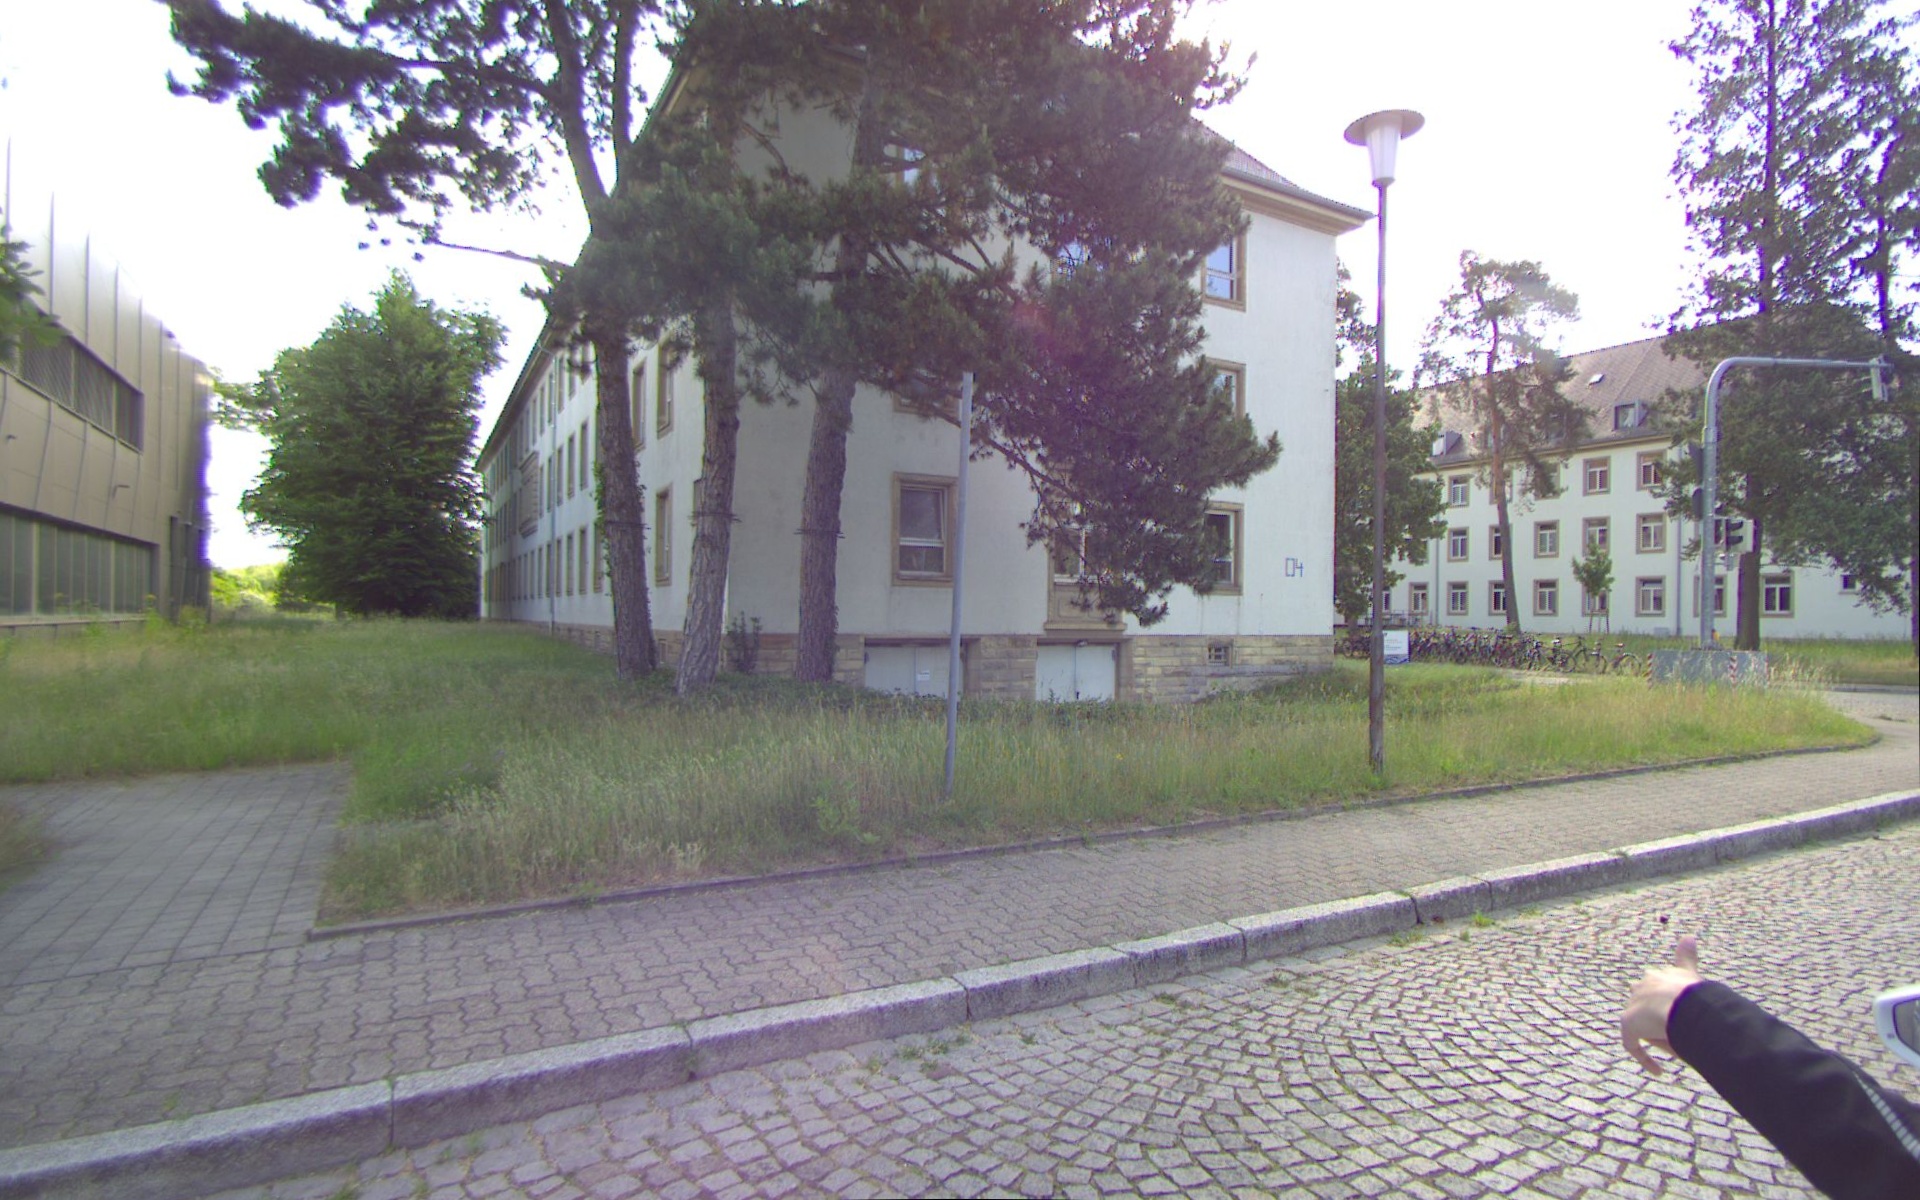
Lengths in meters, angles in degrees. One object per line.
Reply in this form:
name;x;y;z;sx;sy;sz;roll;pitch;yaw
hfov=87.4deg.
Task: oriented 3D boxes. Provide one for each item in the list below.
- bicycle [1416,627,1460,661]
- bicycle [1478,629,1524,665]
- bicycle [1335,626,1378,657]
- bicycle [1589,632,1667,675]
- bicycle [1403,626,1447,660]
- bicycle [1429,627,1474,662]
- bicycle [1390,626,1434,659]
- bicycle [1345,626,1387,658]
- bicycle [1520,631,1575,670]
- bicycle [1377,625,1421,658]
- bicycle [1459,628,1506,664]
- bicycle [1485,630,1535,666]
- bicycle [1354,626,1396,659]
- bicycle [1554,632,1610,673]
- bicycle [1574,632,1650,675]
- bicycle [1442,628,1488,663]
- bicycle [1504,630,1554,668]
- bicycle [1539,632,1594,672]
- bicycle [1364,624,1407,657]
bicycle;17.642;1.604;37.063;1.931;1.237;0.511;1;-1;-31
bicycle;19.026;1.641;35.326;1.877;1.237;0.545;1;-1;-31
bicycle;15.901;1.657;40.261;1.915;1.237;0.511;1;-1;-31
bicycle;20.455;1.608;30.802;0.627;1.237;1.936;1;-1;-29
bicycle;17.380;1.598;37.551;1.915;1.237;0.511;1;-1;-31
bicycle;17.927;1.613;36.622;1.954;1.237;0.511;1;-1;-31
bicycle;17.132;1.592;38.038;1.915;1.237;0.511;1;-1;-31
bicycle;16.114;1.662;39.868;1.915;1.237;0.511;1;-1;-31
bicycle;19.294;1.649;32.957;2.080;1.237;0.630;1;-1;-31
bicycle;16.857;1.586;38.564;1.915;1.237;0.511;1;-1;-31
bicycle;18.542;1.631;35.633;1.992;1.237;0.511;1;-1;-31
bicycle;18.948;1.642;34.614;2.005;1.237;0.576;1;-1;-31
bicycle;16.324;1.666;39.494;1.915;1.237;0.511;1;-1;-31
bicycle;19.827;1.660;32.011;2.089;1.237;0.630;1;-1;-31
bicycle;19.798;1.616;30.532;0.627;1.237;1.853;1;-1;-29
bicycle;18.185;1.623;36.174;1.954;1.237;0.511;1;-1;-31
bicycle;19.203;1.646;33.897;1.966;1.237;0.569;1;-1;-31
bicycle;19.583;1.656;32.428;2.099;1.237;0.630;1;-1;-31
bicycle;16.549;1.579;39.089;1.915;1.237;0.511;1;-1;-31
